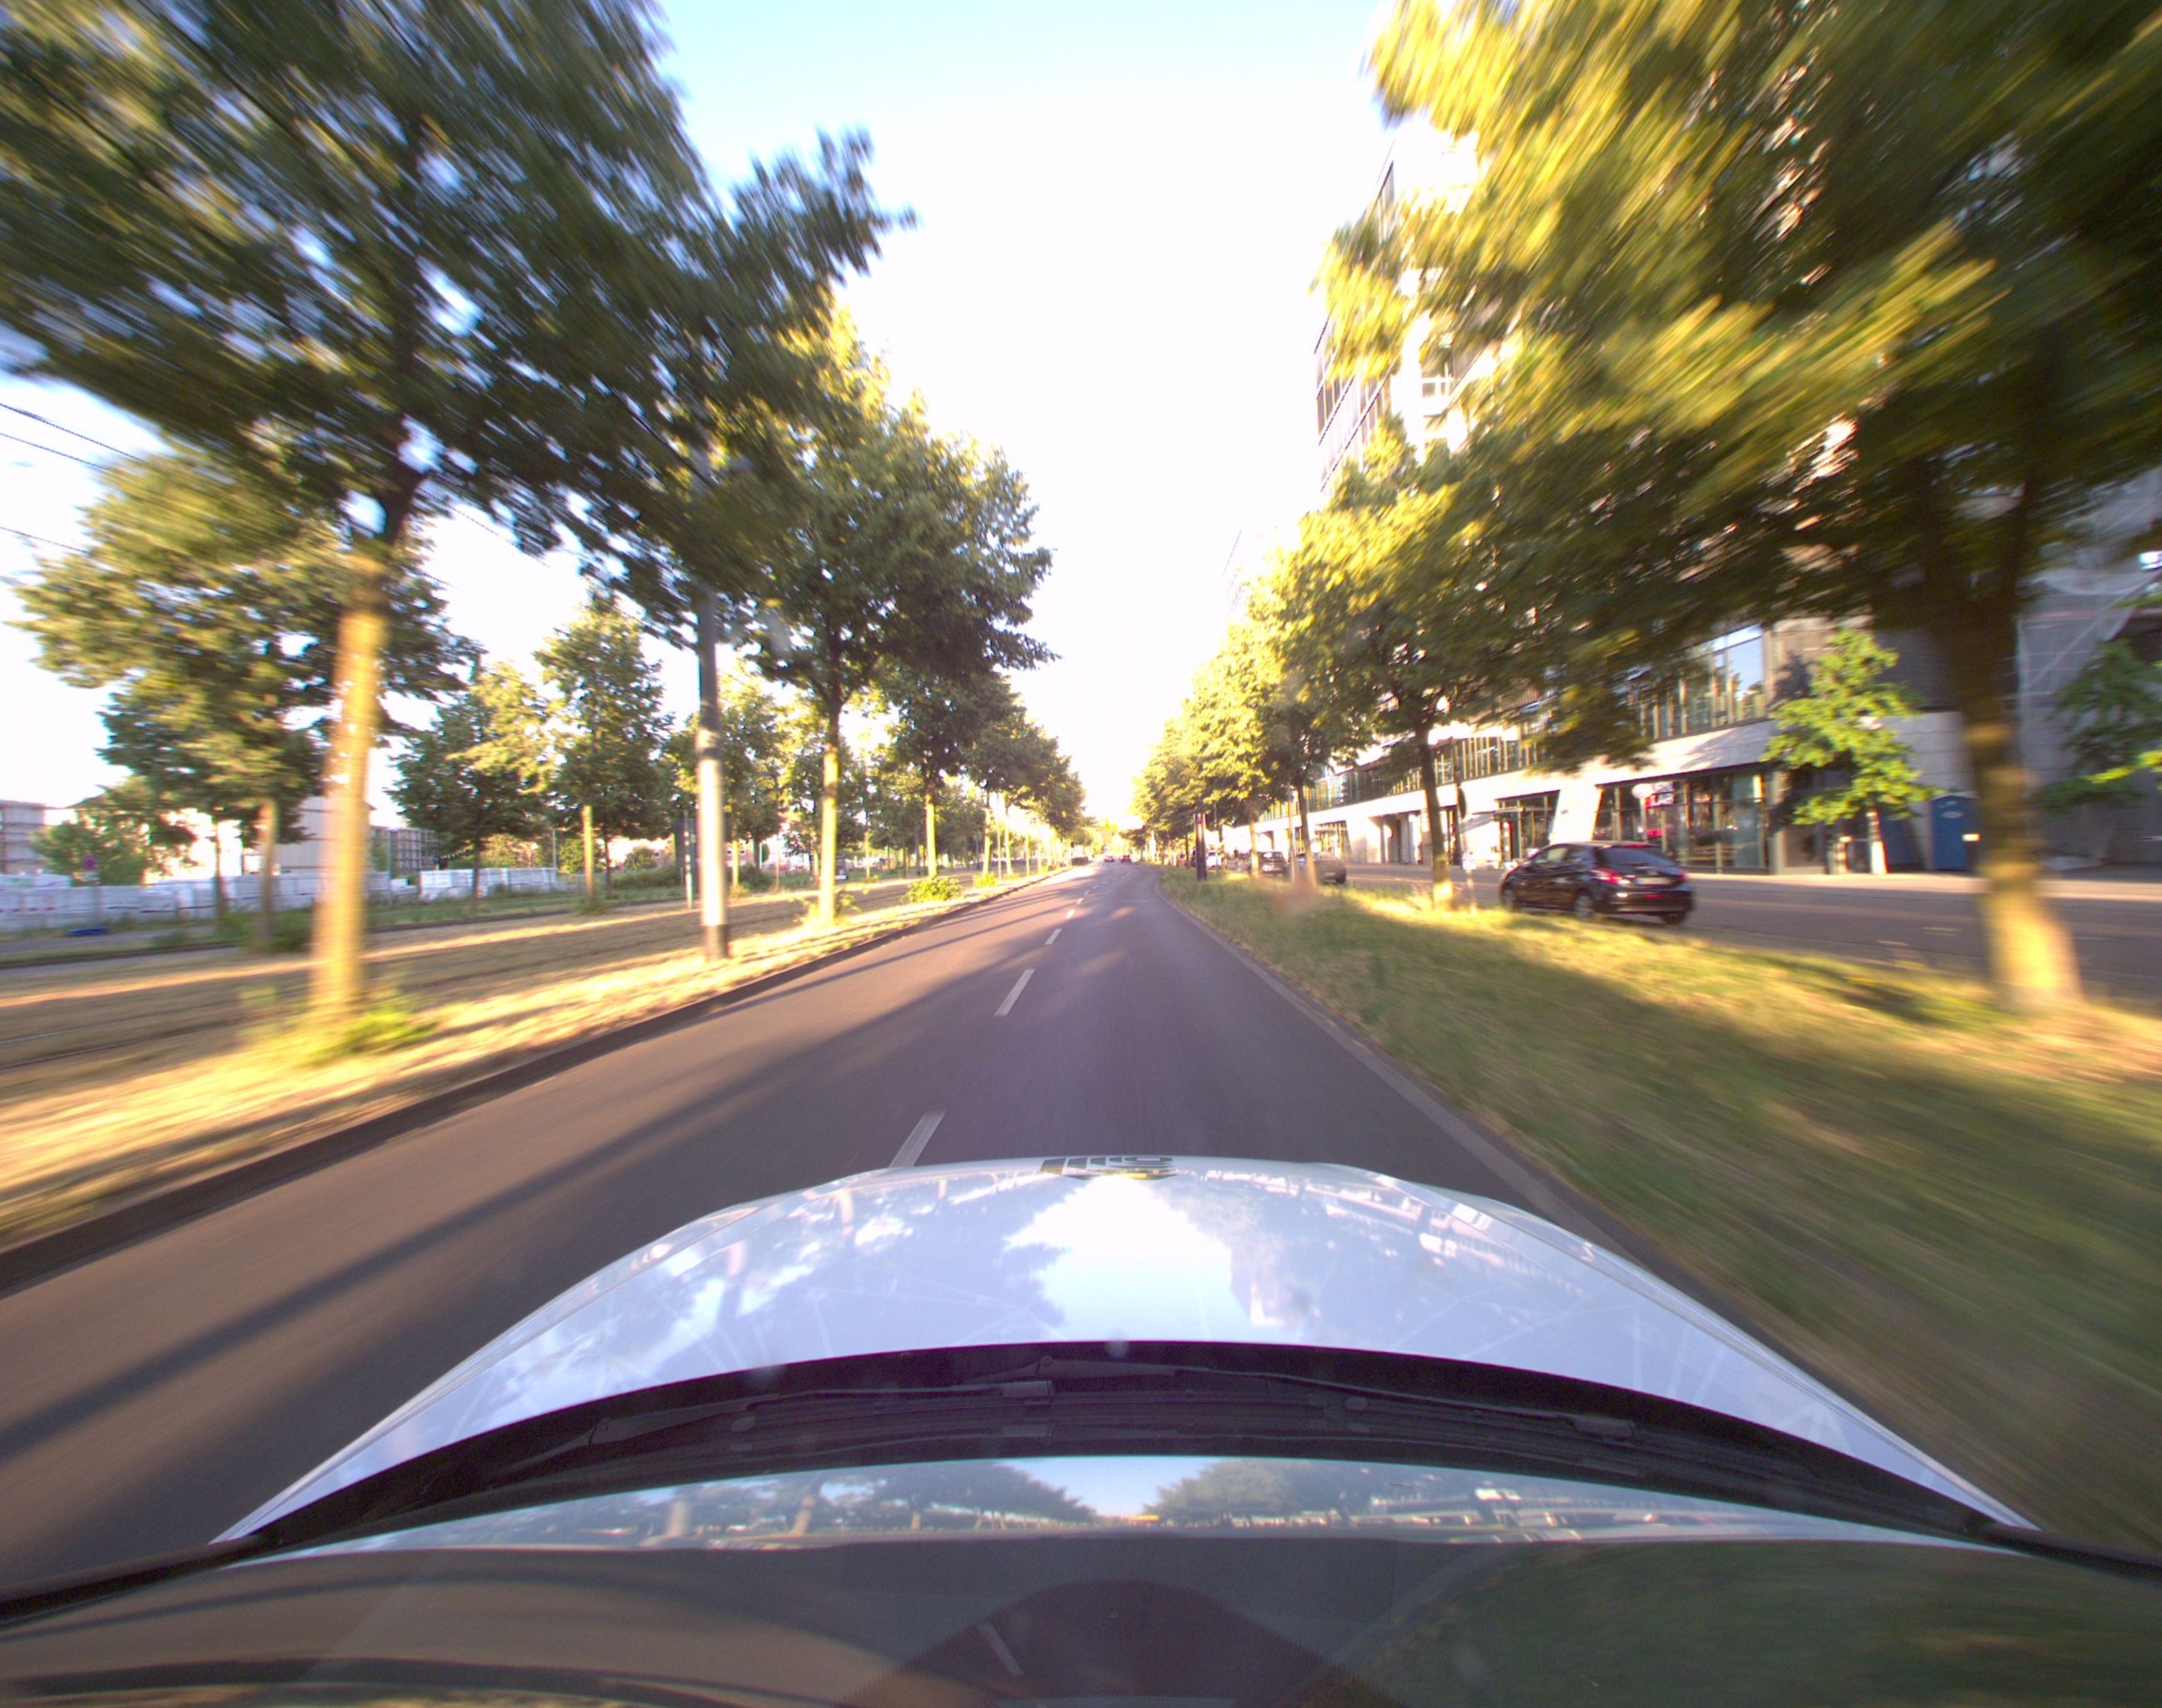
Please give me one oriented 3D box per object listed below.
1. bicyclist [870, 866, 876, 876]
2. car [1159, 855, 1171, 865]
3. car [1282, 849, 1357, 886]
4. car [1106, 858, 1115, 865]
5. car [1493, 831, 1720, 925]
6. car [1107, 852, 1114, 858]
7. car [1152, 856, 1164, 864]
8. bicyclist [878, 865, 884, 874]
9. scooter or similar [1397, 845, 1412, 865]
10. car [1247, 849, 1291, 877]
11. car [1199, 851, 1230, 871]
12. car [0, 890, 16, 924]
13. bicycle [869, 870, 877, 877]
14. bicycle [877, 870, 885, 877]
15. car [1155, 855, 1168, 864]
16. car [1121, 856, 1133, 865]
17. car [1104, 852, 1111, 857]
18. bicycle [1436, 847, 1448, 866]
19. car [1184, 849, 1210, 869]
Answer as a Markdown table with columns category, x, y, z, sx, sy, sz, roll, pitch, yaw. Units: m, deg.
| category | x | y | z | sx | sy | sz | roll | pitch | yaw |
| --- | --- | --- | --- | --- | --- | --- | --- | --- | --- |
| bicyclist | -32.648 | 2.630 | 127.588 | 0.617 | 1.456 | 0.937 | -2 | -1 | 0 |
| car | 13.292 | 0.999 | 128.849 | 1.569 | 1.472 | 3.884 | -2 | 0 | 2 |
| car | 10.370 | 0.558 | 35.798 | 1.846 | 1.367 | 4.833 | -4 | 0 | 0 |
| car | 6.177 | 1.576 | 170.843 | 1.905 | 1.486 | 4.001 | -2 | 0 | 1 |
| car | 9.533 | 0.385 | 15.220 | 1.774 | 1.494 | 4.002 | 1 | 0 | 2 |
| car | 7.823 | 0.164 | 216.234 | 1.905 | 1.486 | 4.001 | -2 | 0 | 1 |
| car | 14.196 | 1.074 | 150.801 | 1.751 | 1.466 | 4.157 | -2 | 0 | 0 |
| bicyclist | -31.465 | 2.424 | 127.983 | 0.617 | 1.456 | 0.937 | -2 | -1 | 0 |
| scooter or similar | 20.588 | 0.060 | 51.883 | 0.470 | 1.211 | 1.229 | -2 | 0 | 3 |
| car | 10.449 | 0.493 | 45.507 | 1.703 | 1.515 | 3.759 | 0 | 0 | 1 |
| car | 11.493 | 0.584 | 70.337 | 1.985 | 1.642 | 4.881 | -2 | 0 | 3 |
| car | -65.107 | 3.174 | 46.895 | 1.791 | 1.982 | 4.312 | -3 | 0 | 1 |
| bicycle | -32.622 | 2.997 | 127.600 | 0.617 | 1.011 | 2.082 | -2 | 0 | 0 |
| bicycle | -31.447 | 3.007 | 128.059 | 0.617 | 1.011 | 2.082 | -2 | 0 | 0 |
| car | 13.394 | 0.941 | 135.436 | 1.772 | 1.472 | 4.287 | -2 | 0 | 0 |
| car | 8.229 | 1.115 | 144.984 | 1.905 | 1.486 | 4.001 | -2 | 0 | 1 |
| car | 7.416 | 0.113 | 231.286 | 1.905 | 1.486 | 4.001 | -2 | 0 | 1 |
| bicycle | 20.356 | 0.134 | 45.898 | 0.449 | 1.027 | 1.402 | -3 | 0 | 28 |
| car | 11.766 | 0.487 | 82.827 | 1.987 | 1.852 | 4.664 | -2 | 0 | 0 |
